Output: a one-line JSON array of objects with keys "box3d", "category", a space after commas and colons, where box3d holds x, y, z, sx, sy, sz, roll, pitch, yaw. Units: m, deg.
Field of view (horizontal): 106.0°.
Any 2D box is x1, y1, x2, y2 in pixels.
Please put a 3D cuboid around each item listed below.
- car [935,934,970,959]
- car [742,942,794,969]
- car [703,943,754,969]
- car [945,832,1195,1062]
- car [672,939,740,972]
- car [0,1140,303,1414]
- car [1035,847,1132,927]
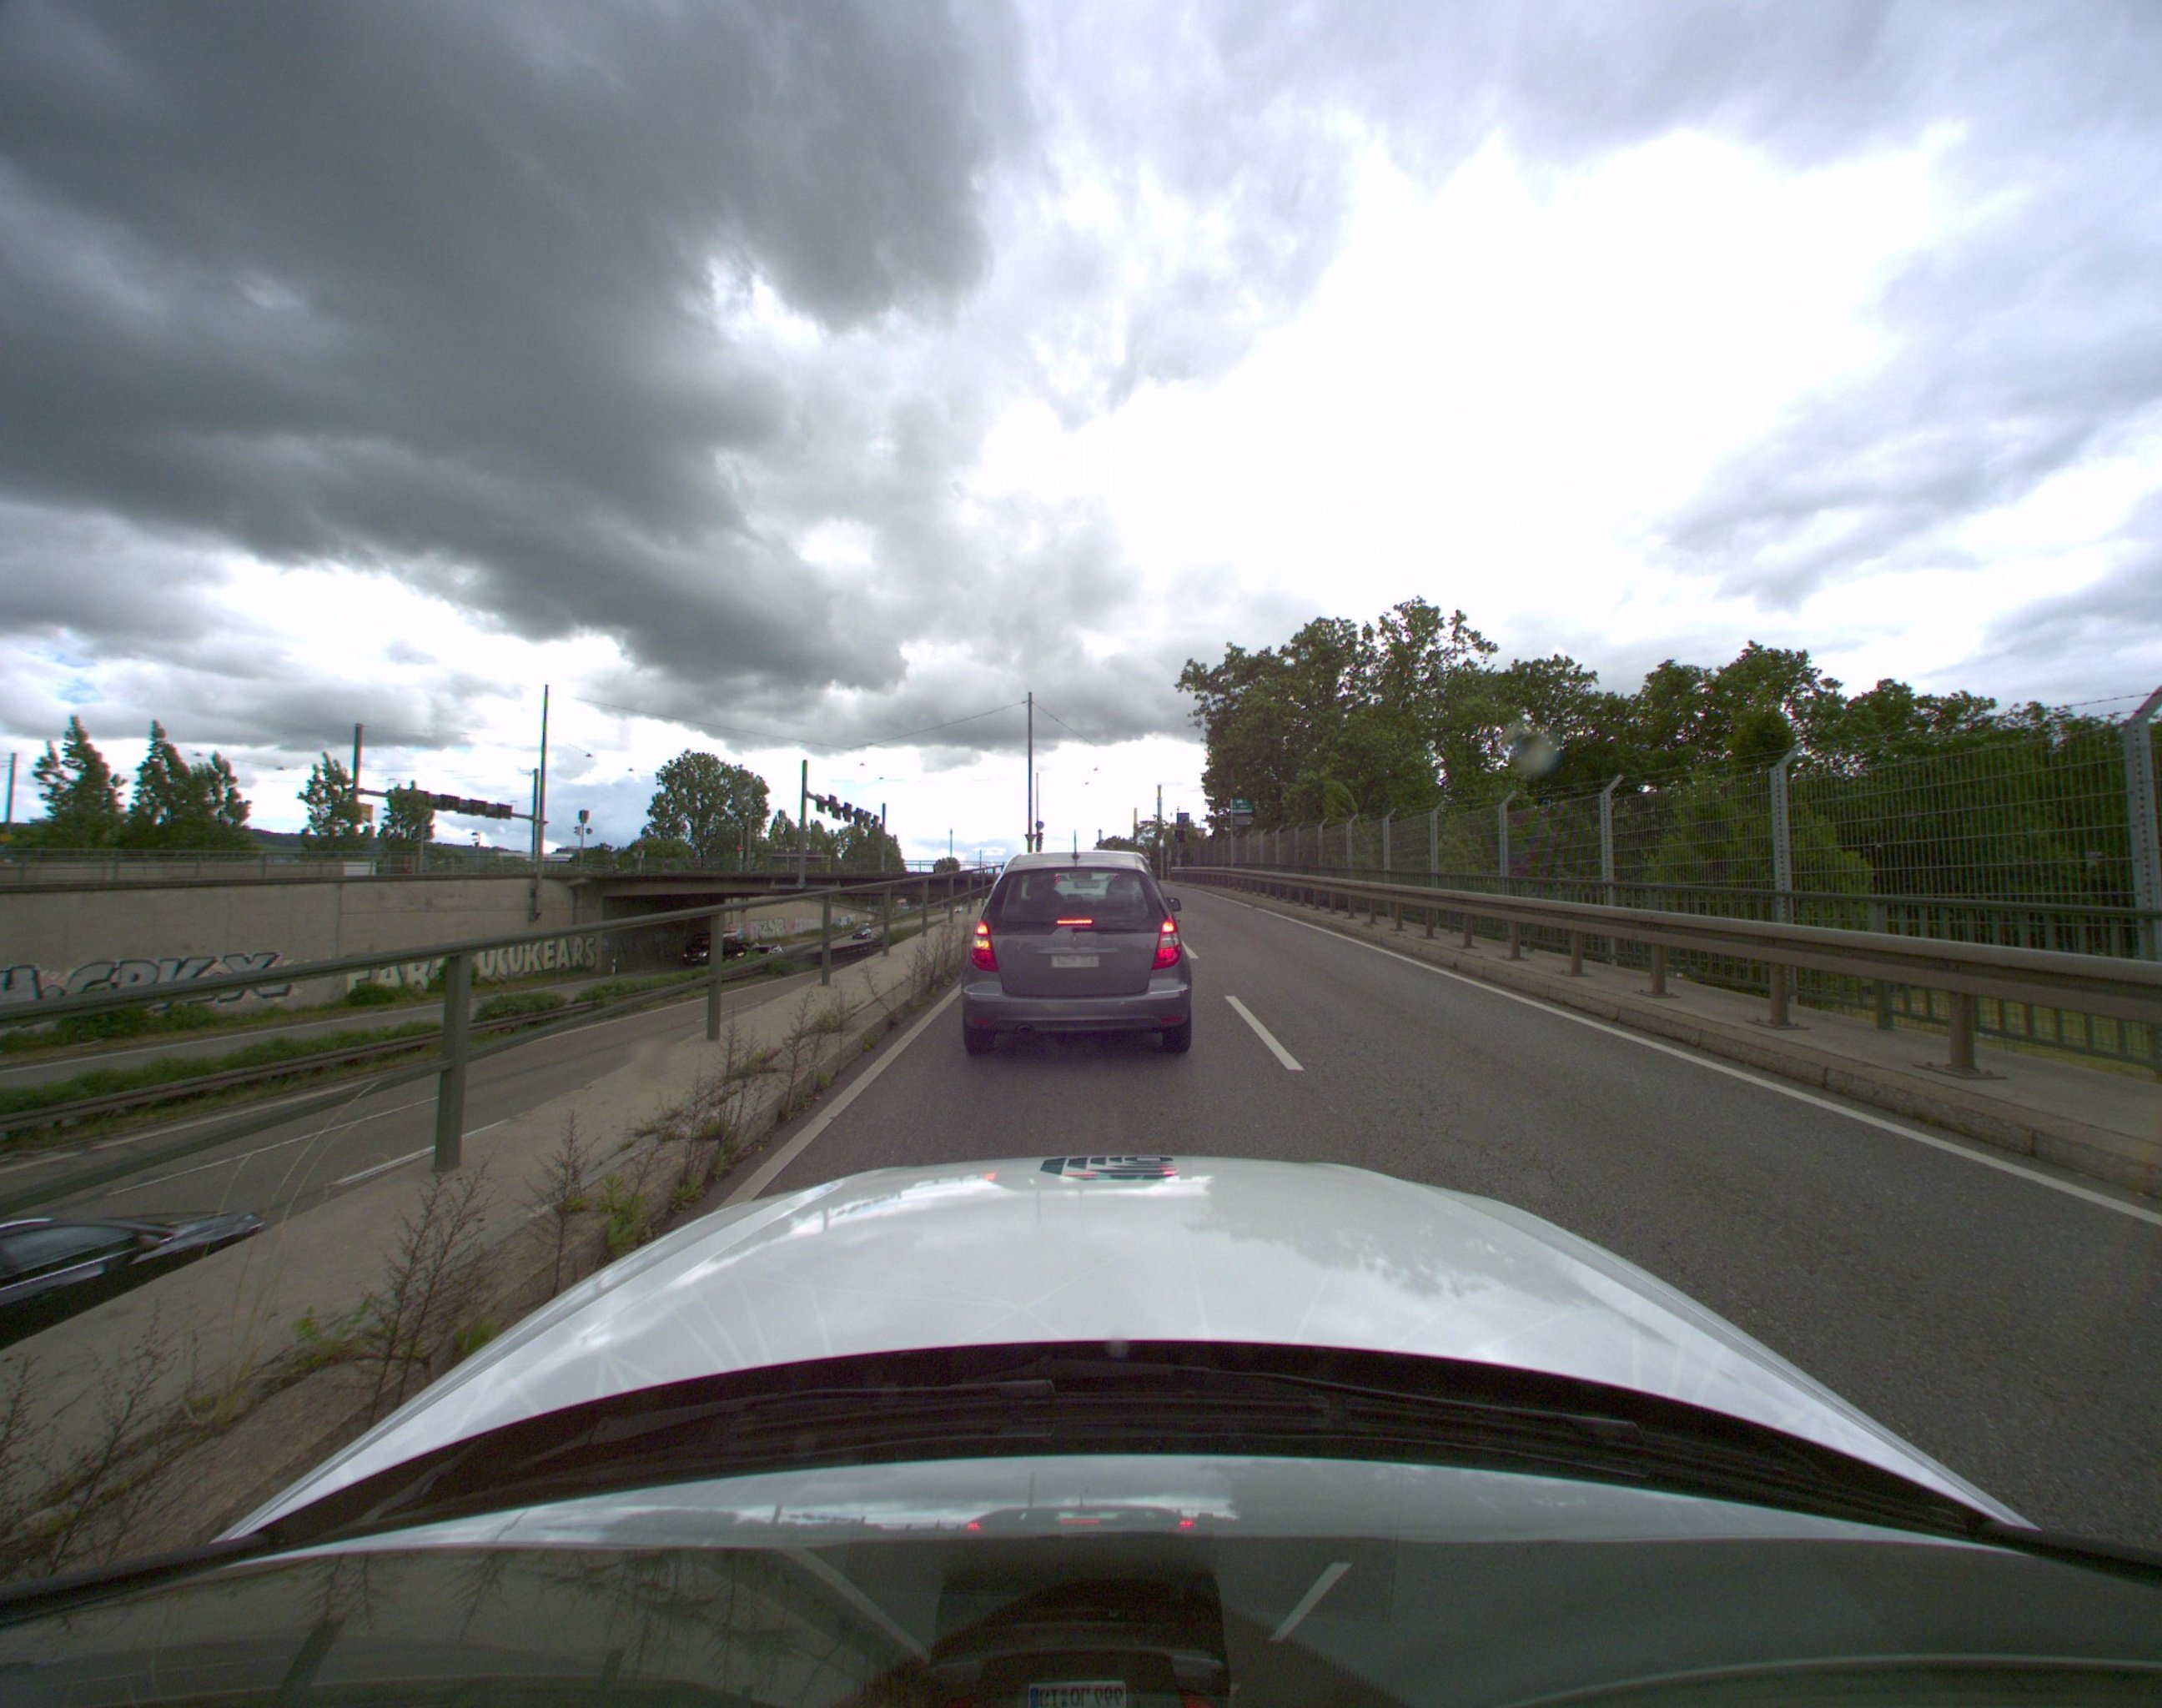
[{"box3d": [-9.911, 7.133, 63.187, 1.846, 1.500, 4.003, -1, -1, 3], "category": "car"}, {"box3d": [-22.102, 7.160, 57.678, 1.987, 1.662, 3.999, 0, -4, 1], "category": "car"}, {"box3d": [-26.226, 7.551, 60.722, 1.987, 1.662, 3.999, 0, -4, 1], "category": "car"}, {"box3d": [0.184, 0.760, 7.765, 1.740, 1.581, 4.093, -1, -3, 8], "category": "car"}, {"box3d": [-29.174, 7.833, 63.580, 2.282, 2.156, 6.183, -1, -4, 1], "category": "car"}, {"box3d": [-9.811, 3.877, 6.903, 1.923, 1.501, 4.315, -2, -2, 10], "category": "car"}, {"box3d": [0.108, 0.673, 19.108, 1.986, 1.603, 4.002, -1, 1, 1], "category": "car"}]
